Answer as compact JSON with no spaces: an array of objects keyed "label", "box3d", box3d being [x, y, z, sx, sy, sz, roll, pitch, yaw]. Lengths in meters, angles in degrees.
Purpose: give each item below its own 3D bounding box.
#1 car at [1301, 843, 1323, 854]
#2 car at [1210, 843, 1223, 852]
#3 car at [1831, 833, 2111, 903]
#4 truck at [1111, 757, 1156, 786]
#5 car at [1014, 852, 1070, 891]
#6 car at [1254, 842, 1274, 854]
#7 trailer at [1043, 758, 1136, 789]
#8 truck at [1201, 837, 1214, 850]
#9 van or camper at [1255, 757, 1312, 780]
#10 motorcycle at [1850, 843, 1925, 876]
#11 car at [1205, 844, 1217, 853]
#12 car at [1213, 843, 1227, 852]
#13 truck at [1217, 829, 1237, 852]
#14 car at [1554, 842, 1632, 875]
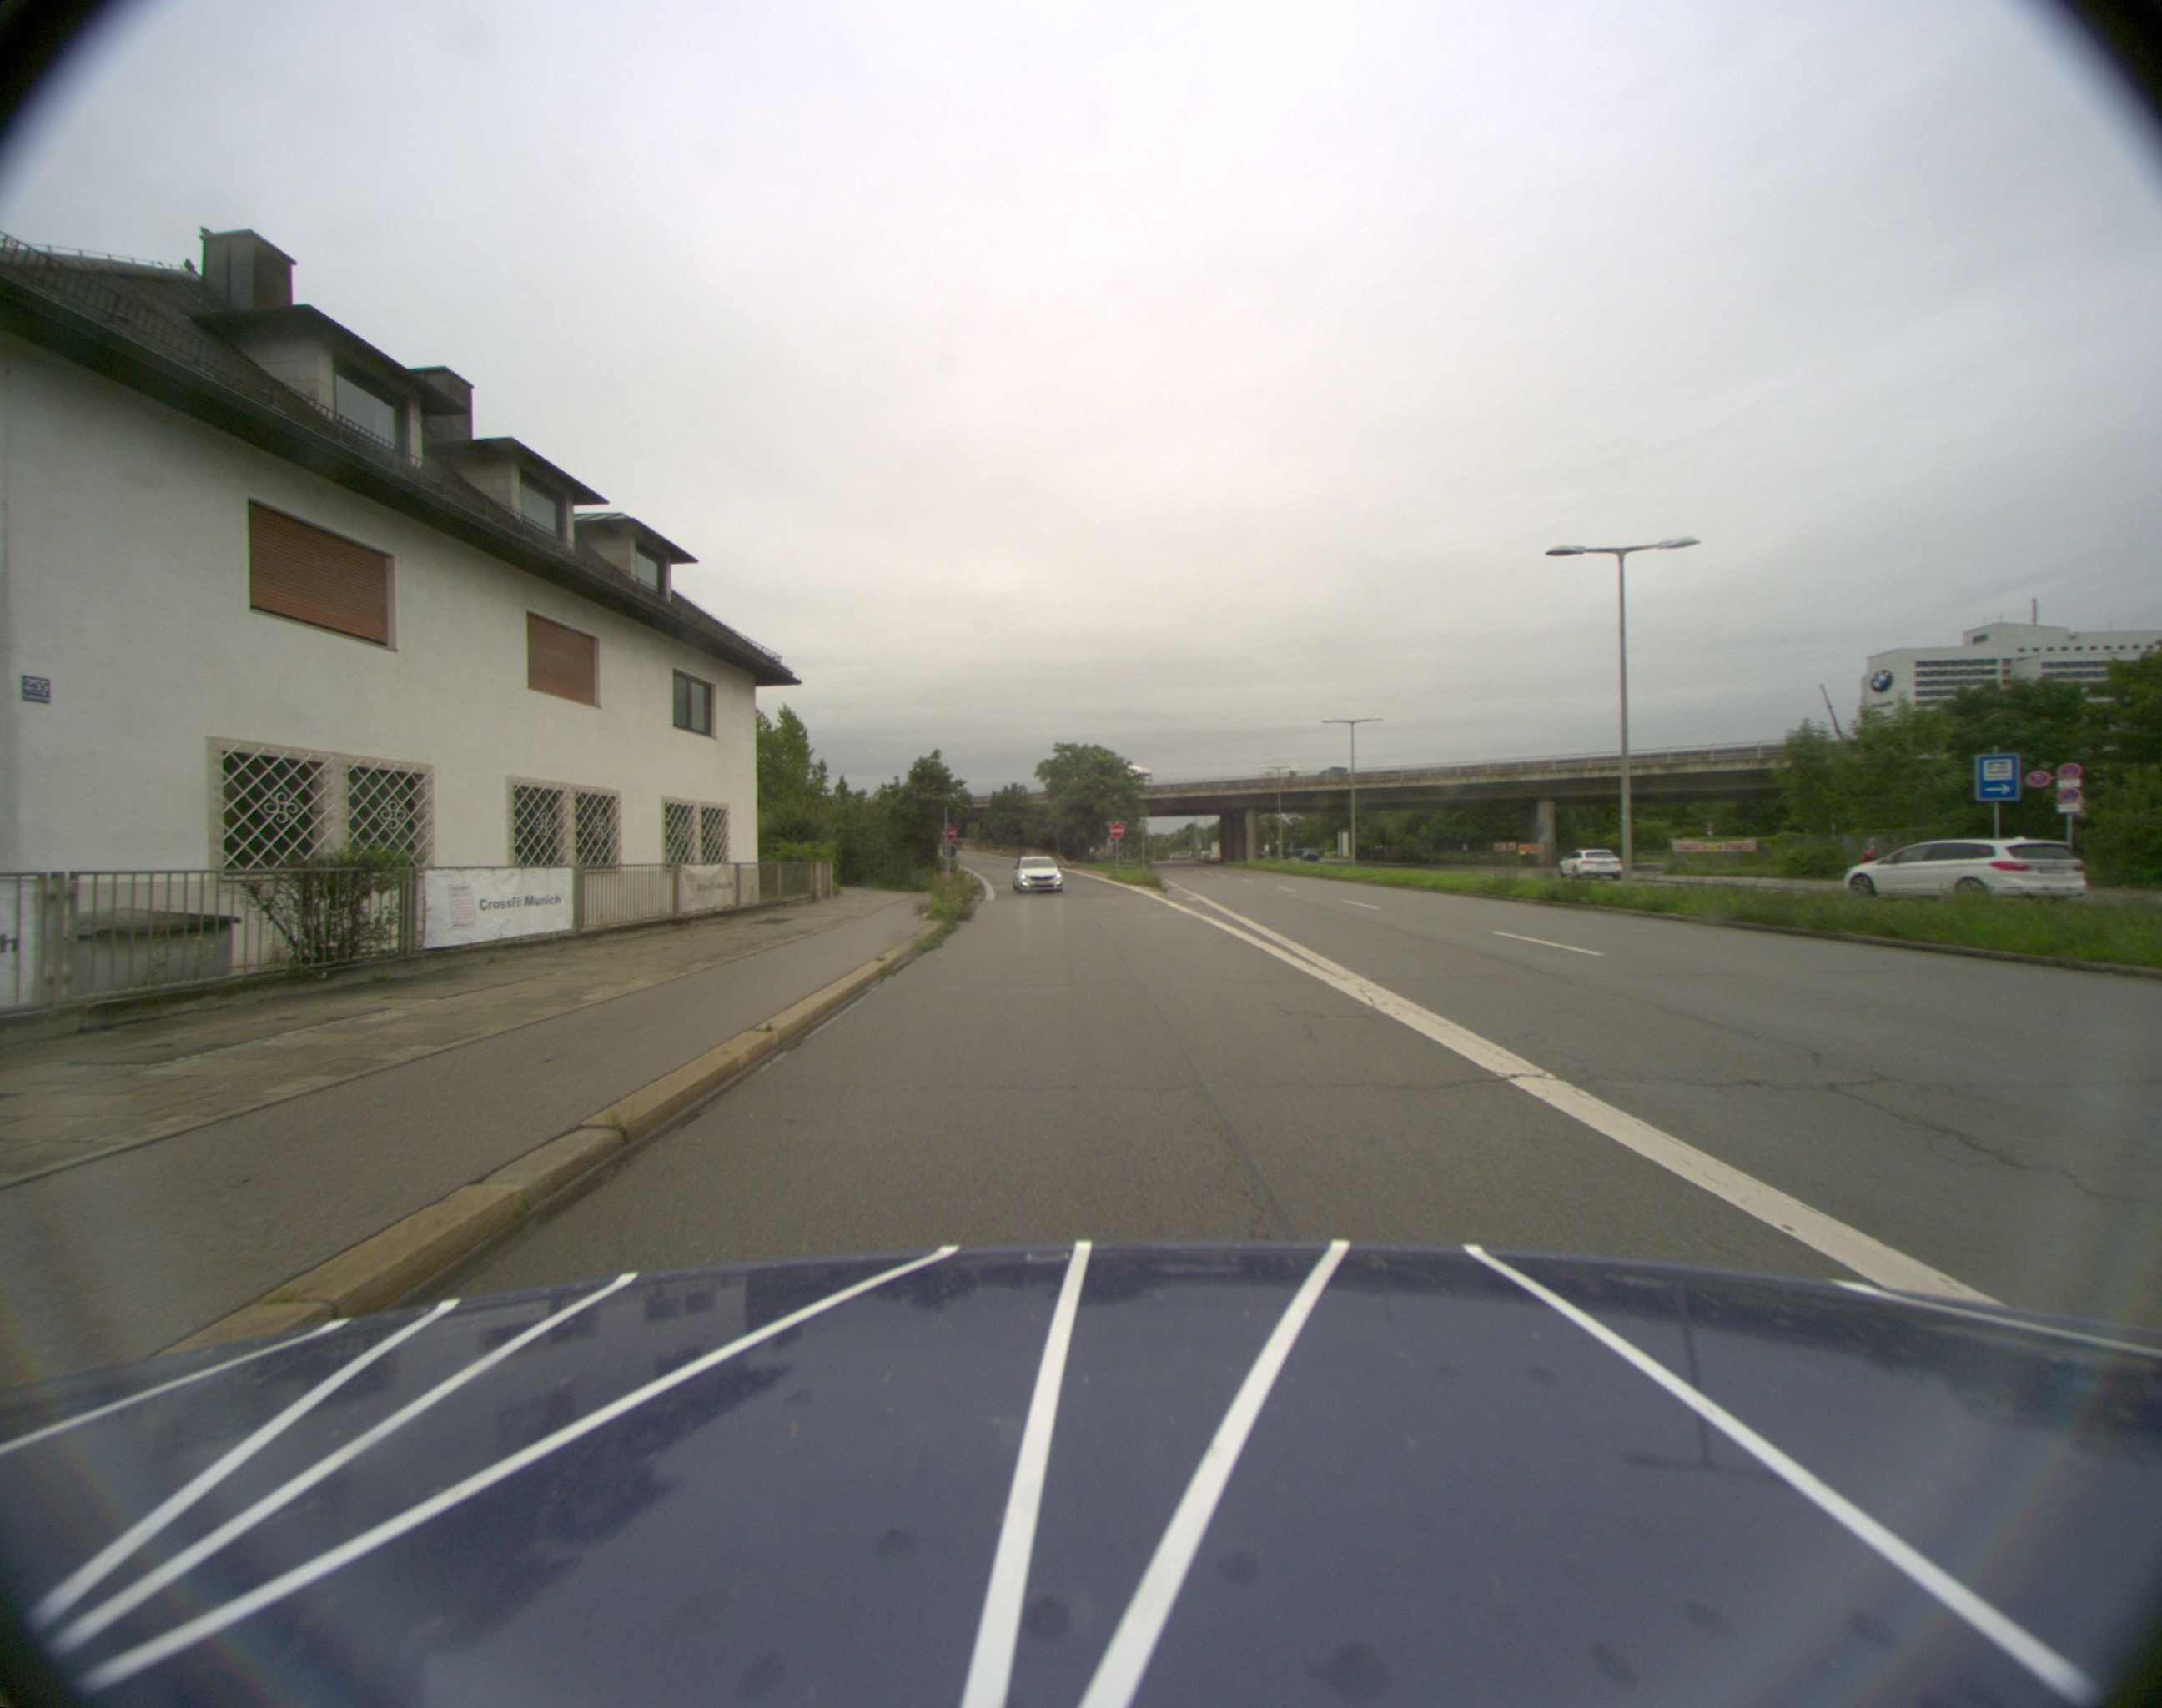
[{"label":"car","box3d":[31.767,-0.793,104.643,1.973,1.389,4.817,1,2,6]},{"label":"car","box3d":[26.239,-1.245,146.764,1.973,1.574,4.592,2,1,5]},{"label":"car","box3d":[22.362,0.281,19.455,1.998,1.563,4.575,0,1,5]},{"label":"truck","box3d":[6.535,-10.226,94.905,5.178,3.228,2.602,2,3,43]},{"label":"car","box3d":[-1.705,0.653,31.476,1.916,1.439,4.552,-1,1,-8]},{"label":"car","box3d":[26.972,-0.936,112.005,1.973,1.574,4.591,2,1,2]},{"label":"trailer","box3d":[0.881,-10.547,100.132,14.016,3.280,2.671,2,3,43]},{"label":"truck","box3d":[34.641,-2.909,208.423,2.796,3.659,6.644,2,2,5]},{"label":"van or camper","box3d":[21.694,-9.189,81.620,5.491,2.002,2.336,1,2,43]},{"label":"motorcycle","box3d":[29.341,0.184,27.704,0.534,1.169,2.196,0,1,4]},{"label":"car","box3d":[26.481,-1.150,154.522,1.973,1.574,4.592,-4,1,4]},{"label":"car","box3d":[25.004,-1.180,136.452,1.973,1.574,4.592,2,1,5]},{"label":"truck","box3d":[30.092,-2.820,156.963,2.796,4.566,9.603,2,1,5]},{"label":"car","box3d":[25.878,0.160,38.587,1.995,1.563,5.125,0,1,19]}]
